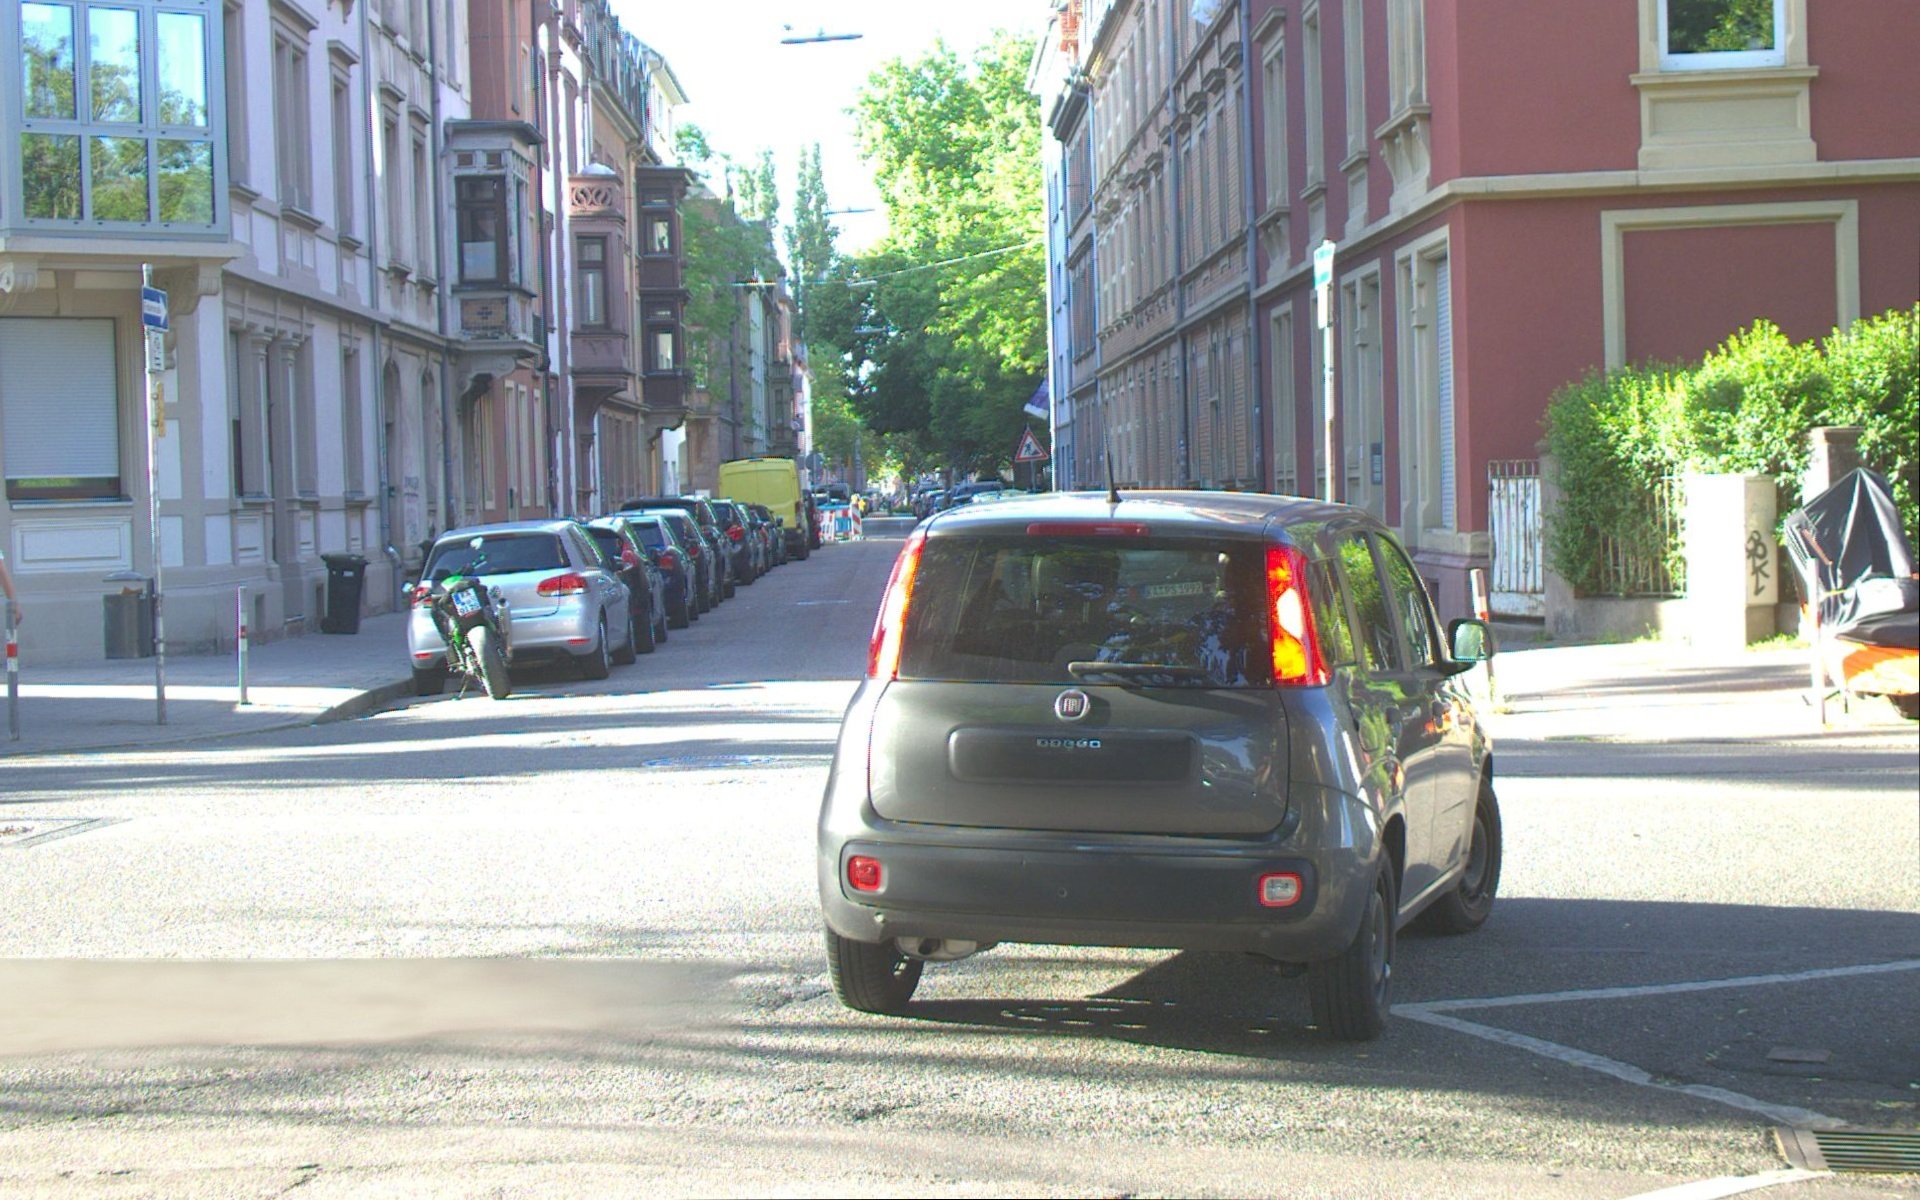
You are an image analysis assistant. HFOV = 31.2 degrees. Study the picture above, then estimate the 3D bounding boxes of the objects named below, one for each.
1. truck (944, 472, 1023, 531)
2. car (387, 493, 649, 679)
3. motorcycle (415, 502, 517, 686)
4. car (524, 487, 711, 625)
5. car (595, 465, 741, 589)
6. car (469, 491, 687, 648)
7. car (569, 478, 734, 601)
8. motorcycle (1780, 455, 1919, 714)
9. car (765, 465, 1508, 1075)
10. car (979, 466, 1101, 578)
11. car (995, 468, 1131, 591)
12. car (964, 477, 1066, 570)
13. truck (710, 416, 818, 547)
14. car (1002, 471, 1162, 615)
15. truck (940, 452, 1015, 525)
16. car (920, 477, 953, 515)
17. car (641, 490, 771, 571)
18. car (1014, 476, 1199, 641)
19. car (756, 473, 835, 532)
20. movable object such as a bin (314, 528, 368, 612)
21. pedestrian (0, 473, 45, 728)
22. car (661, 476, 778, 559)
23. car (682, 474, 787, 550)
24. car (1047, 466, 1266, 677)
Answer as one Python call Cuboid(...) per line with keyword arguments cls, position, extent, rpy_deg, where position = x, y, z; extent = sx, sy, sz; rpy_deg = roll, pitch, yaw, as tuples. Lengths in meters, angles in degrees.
Cuboid(cls="truck", position=(0.611, -2.682, 92.958), extent=(1.993, 1.451, 4.001), rpy_deg=(-2, 2, -1))
Cuboid(cls="car", position=(-4.044, -0.182, 32.032), extent=(1.797, 1.427, 3.925), rpy_deg=(-5, 2, 0))
Cuboid(cls="motorcycle", position=(-4.138, -0.073, 28.735), extent=(0.696, 1.455, 1.751), rpy_deg=(-4, 2, -10))
Cuboid(cls="car", position=(-4.259, -0.591, 43.329), extent=(1.825, 1.462, 3.925), rpy_deg=(-5, 2, 0))
Cuboid(cls="car", position=(-4.512, -1.172, 53.575), extent=(1.775, 1.692, 3.925), rpy_deg=(-5, 2, 0))
Cuboid(cls="car", position=(-4.058, -0.371, 37.116), extent=(1.777, 1.408, 3.925), rpy_deg=(-5, 2, 0))
Cuboid(cls="car", position=(-4.295, -0.892, 48.425), extent=(1.828, 1.474, 3.925), rpy_deg=(-5, 2, 0))
Cuboid(cls="motorcycle", position=(5.614, -0.130, 21.092), extent=(1.020, 1.399, 2.191), rpy_deg=(-2, 4, 11))
Cuboid(cls="car", position=(0.699, 0.378, 10.770), extent=(1.634, 1.544, 3.262), rpy_deg=(1, 3, 16))
Cuboid(cls="car", position=(1.122, -1.158, 49.667), extent=(1.663, 1.527, 3.757), rpy_deg=(-1, 2, 0))
Cuboid(cls="car", position=(1.311, -0.954, 45.082), extent=(1.663, 1.500, 3.757), rpy_deg=(-1, 2, 0))
Cuboid(cls="car", position=(0.915, -1.331, 58.754), extent=(1.663, 1.500, 3.757), rpy_deg=(-1, 2, 0))
Cuboid(cls="truck", position=(-4.774, -2.922, 84.589), extent=(2.070, 2.915, 5.068), rpy_deg=(-6, 2, 0))
Cuboid(cls="car", position=(1.327, -0.679, 38.683), extent=(1.663, 1.500, 3.757), rpy_deg=(-1, 2, 0))
Cuboid(cls="truck", position=(0.480, -3.209, 98.323), extent=(1.993, 1.985, 4.001), rpy_deg=(-2, 2, -1))
Cuboid(cls="car", position=(-1.043, -4.633, 153.500), extent=(1.367, 1.612, 3.414), rpy_deg=(-2, 2, 0))
Cuboid(cls="car", position=(-4.606, -1.295, 62.868), extent=(1.962, 1.220, 3.925), rpy_deg=(-5, 2, 0))
Cuboid(cls="car", position=(1.404, -0.457, 34.089), extent=(1.663, 1.500, 3.757), rpy_deg=(-1, 2, 0))
Cuboid(cls="car", position=(-4.763, -2.852, 99.870), extent=(1.962, 1.474, 3.925), rpy_deg=(-5, 2, 0))
Cuboid(cls="movable object such as a bin", position=(-7.183, -0.350, 39.904), extent=(0.511, 0.949, 0.501), rpy_deg=(-2, 2, -3))
Cuboid(cls="pedestrian", position=(-7.206, -0.001, 25.180), extent=(0.723, 1.832, 0.626), rpy_deg=(-1, 2, 11))
Cuboid(cls="car", position=(-4.899, -1.716, 70.511), extent=(1.962, 1.474, 3.925), rpy_deg=(-5, 2, 0))
Cuboid(cls="car", position=(-5.060, -2.007, 77.515), extent=(1.962, 1.474, 3.925), rpy_deg=(-5, 2, 0))
Cuboid(cls="car", position=(1.632, -0.305, 29.598), extent=(1.663, 1.663, 3.757), rpy_deg=(-1, 2, 0))
